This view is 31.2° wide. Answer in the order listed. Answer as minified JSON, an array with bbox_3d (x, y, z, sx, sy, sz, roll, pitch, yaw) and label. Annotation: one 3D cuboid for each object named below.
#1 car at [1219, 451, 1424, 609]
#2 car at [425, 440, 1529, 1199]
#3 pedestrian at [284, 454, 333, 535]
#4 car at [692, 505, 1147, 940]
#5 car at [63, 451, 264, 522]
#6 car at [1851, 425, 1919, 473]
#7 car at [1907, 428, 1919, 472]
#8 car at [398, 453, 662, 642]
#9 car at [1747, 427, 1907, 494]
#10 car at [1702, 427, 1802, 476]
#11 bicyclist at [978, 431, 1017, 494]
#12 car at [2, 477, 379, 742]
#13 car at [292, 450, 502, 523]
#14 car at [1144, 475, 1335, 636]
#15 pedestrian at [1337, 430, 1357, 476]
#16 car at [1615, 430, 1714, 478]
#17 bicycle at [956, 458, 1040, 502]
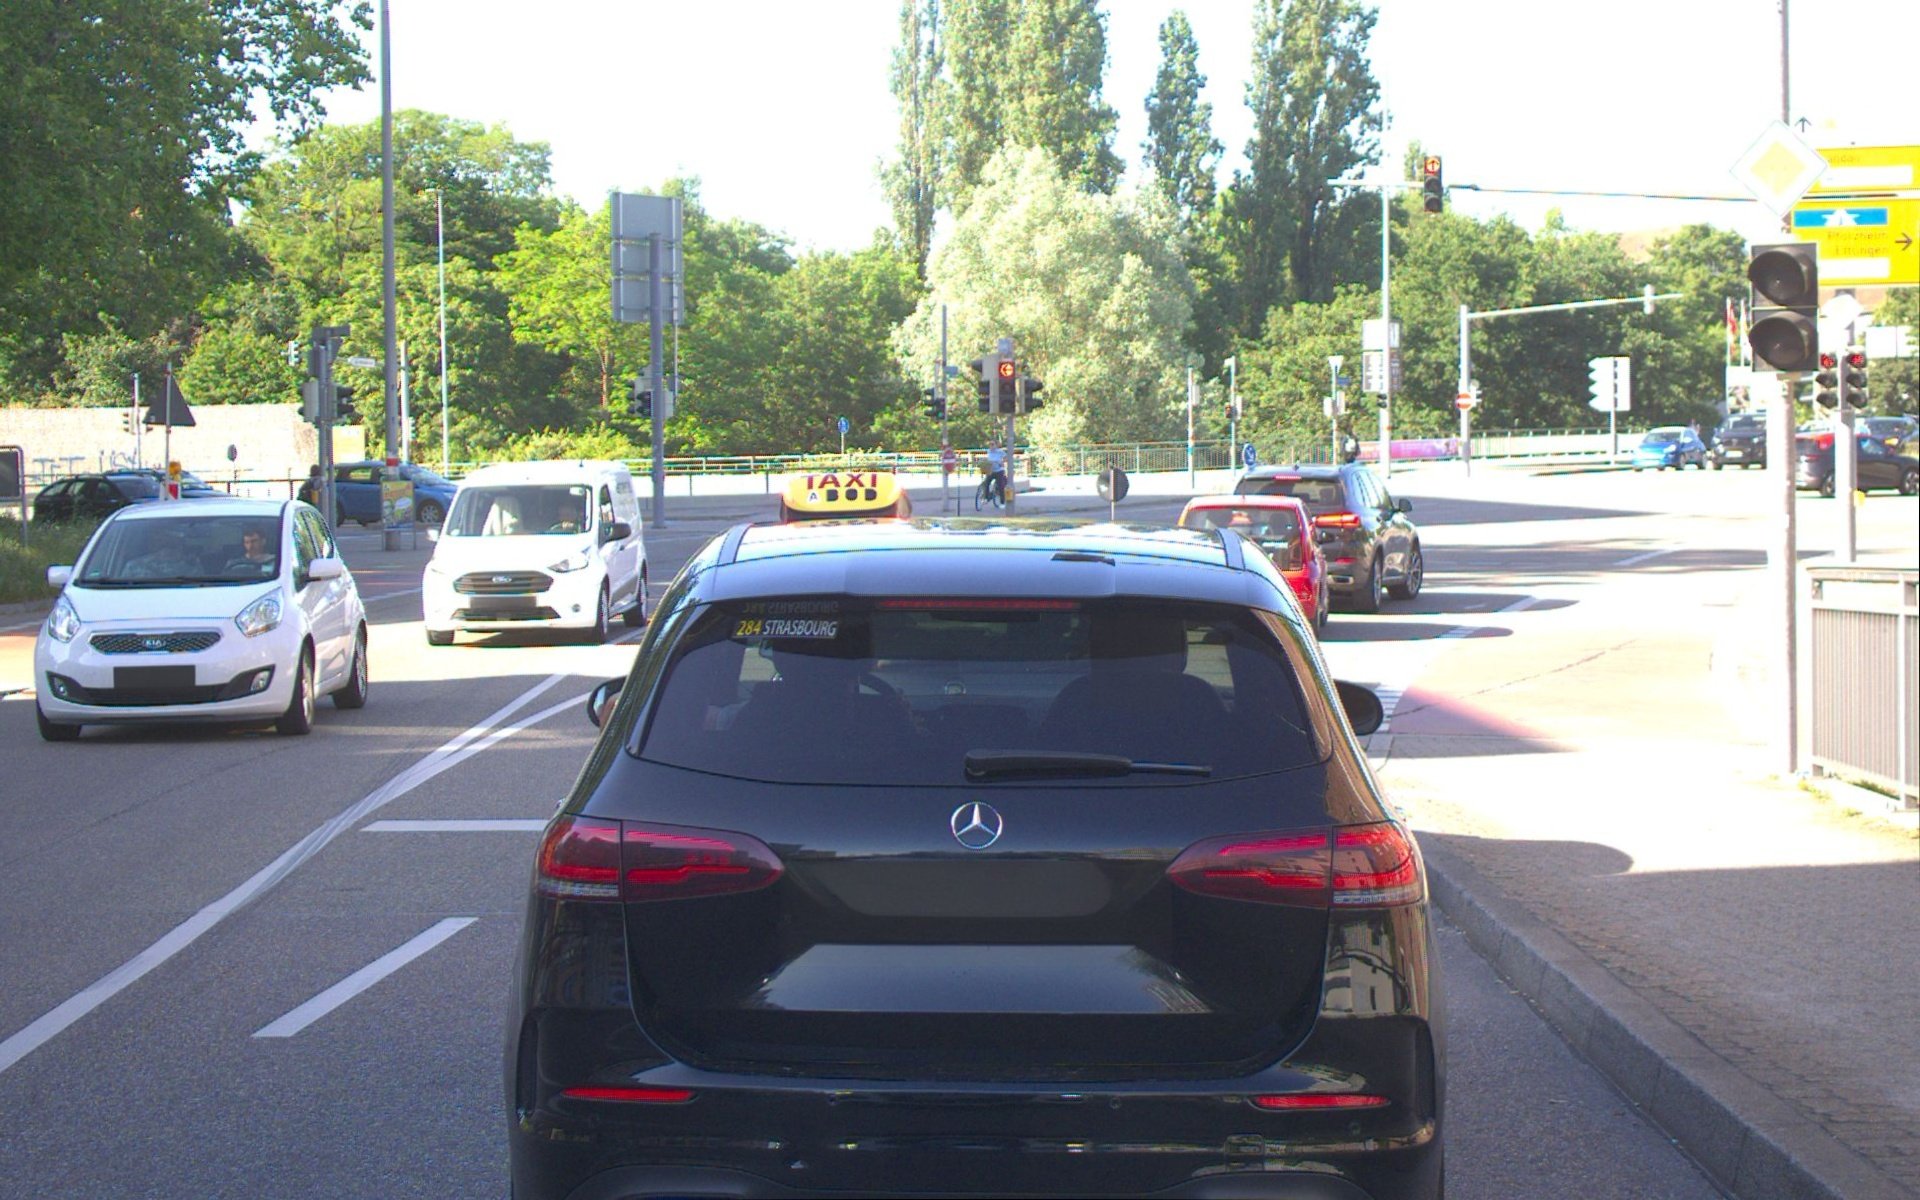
[{"bbox_3d":[4.489,-0.899,42.184,1.723,1.805,4.294,0,3,17],"label":"car"},{"bbox_3d":[-0.020,0.490,7.893,1.877,1.608,4.001,1,1,-1],"label":"car"},{"bbox_3d":[-12.310,-2.001,64.955,0.705,1.520,0.743,1,2,10],"label":"pedestrian"},{"bbox_3d":[-0.121,0.405,14.411,1.640,1.524,3.474,-1,2,1],"label":"car"},{"bbox_3d":[-18.902,-2.694,81.577,4.402,1.624,1.889,0,2,25],"label":"car"},{"bbox_3d":[32.062,-5.174,117.357,1.882,1.573,3.992,1,3,35],"label":"car"},{"bbox_3d":[35.640,-5.411,123.531,1.882,1.573,3.992,1,3,35],"label":"car"},{"bbox_3d":[-4.407,-0.615,35.978,1.918,1.788,4.899,-1,3,2],"label":"car"},{"bbox_3d":[21.527,-3.469,85.317,3.989,1.624,1.890,-2,3,-40],"label":"car"},{"bbox_3d":[26.403,-4.955,114.476,1.882,1.573,3.992,1,3,35],"label":"car"},{"bbox_3d":[0.945,-3.429,85.690,0.804,1.545,0.527,-2,2,-17],"label":"bicyclist"},{"bbox_3d":[-5.261,-0.011,24.008,1.777,1.629,4.001,-2,2,-1],"label":"car"},{"bbox_3d":[-12.992,-2.612,79.372,4.401,1.624,1.889,0,2,21],"label":"car"},{"bbox_3d":[3.014,-0.511,36.553,1.722,1.516,3.485,0,4,10],"label":"car"},{"bbox_3d":[13.450,-5.115,119.406,0.451,1.580,0.500,0,3,40],"label":"pedestrian"},{"bbox_3d":[24.108,-5.006,117.517,1.882,1.573,3.992,1,3,35],"label":"car"},{"bbox_3d":[0.946,-2.991,85.717,1.983,1.046,0.527,-2,2,-17],"label":"bicycle"}]
